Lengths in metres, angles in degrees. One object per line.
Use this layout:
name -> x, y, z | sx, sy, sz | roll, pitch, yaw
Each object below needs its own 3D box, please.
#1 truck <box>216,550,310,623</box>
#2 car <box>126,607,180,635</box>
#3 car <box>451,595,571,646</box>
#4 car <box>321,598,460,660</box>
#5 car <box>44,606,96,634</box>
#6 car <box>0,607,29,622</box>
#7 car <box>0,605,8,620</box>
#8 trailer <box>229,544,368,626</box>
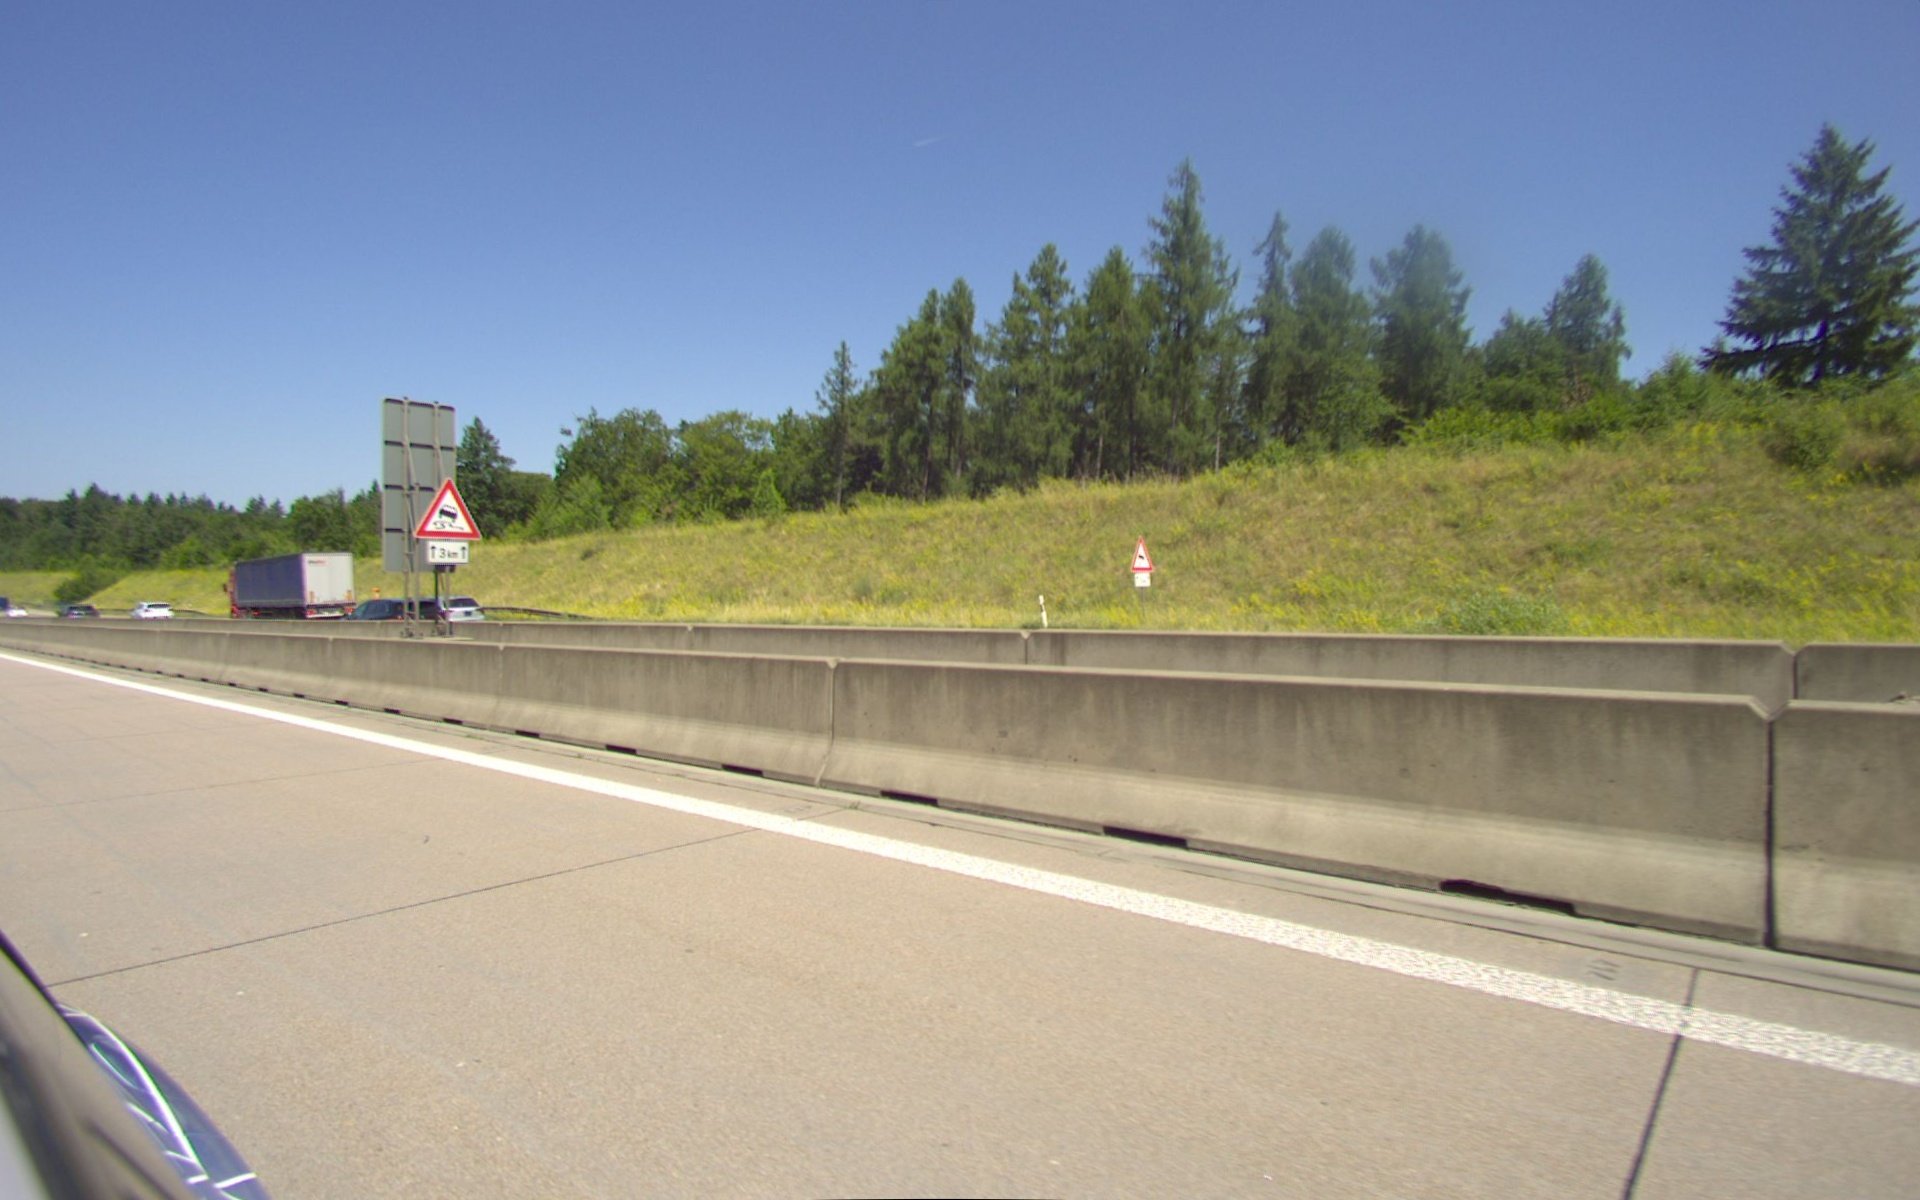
truck -> -45.030, -0.887, 65.290 | 6.798, 4.464, 3.352 | 0, 2, 42
car -> -53.571, 1.398, 67.162 | 4.813, 1.705, 1.973 | -1, 1, 41
car -> -15.256, 0.665, 34.284 | 4.496, 1.570, 1.973 | -1, 1, 41
car -> -16.021, 0.773, 28.385 | 4.496, 1.570, 1.973 | -1, 1, 41
car -> -57.685, 1.295, 65.578 | 4.369, 1.705, 1.973 | -1, 1, 41
car -> -108.968, 1.698, 116.613 | 3.998, 1.575, 1.973 | -1, 2, 41
car -> -154.330, 2.041, 161.791 | 6.456, 2.226, 2.455 | -1, 2, 41
trailer -> -39.940, -0.881, 60.758 | 13.919, 4.464, 3.352 | 0, 2, 42
